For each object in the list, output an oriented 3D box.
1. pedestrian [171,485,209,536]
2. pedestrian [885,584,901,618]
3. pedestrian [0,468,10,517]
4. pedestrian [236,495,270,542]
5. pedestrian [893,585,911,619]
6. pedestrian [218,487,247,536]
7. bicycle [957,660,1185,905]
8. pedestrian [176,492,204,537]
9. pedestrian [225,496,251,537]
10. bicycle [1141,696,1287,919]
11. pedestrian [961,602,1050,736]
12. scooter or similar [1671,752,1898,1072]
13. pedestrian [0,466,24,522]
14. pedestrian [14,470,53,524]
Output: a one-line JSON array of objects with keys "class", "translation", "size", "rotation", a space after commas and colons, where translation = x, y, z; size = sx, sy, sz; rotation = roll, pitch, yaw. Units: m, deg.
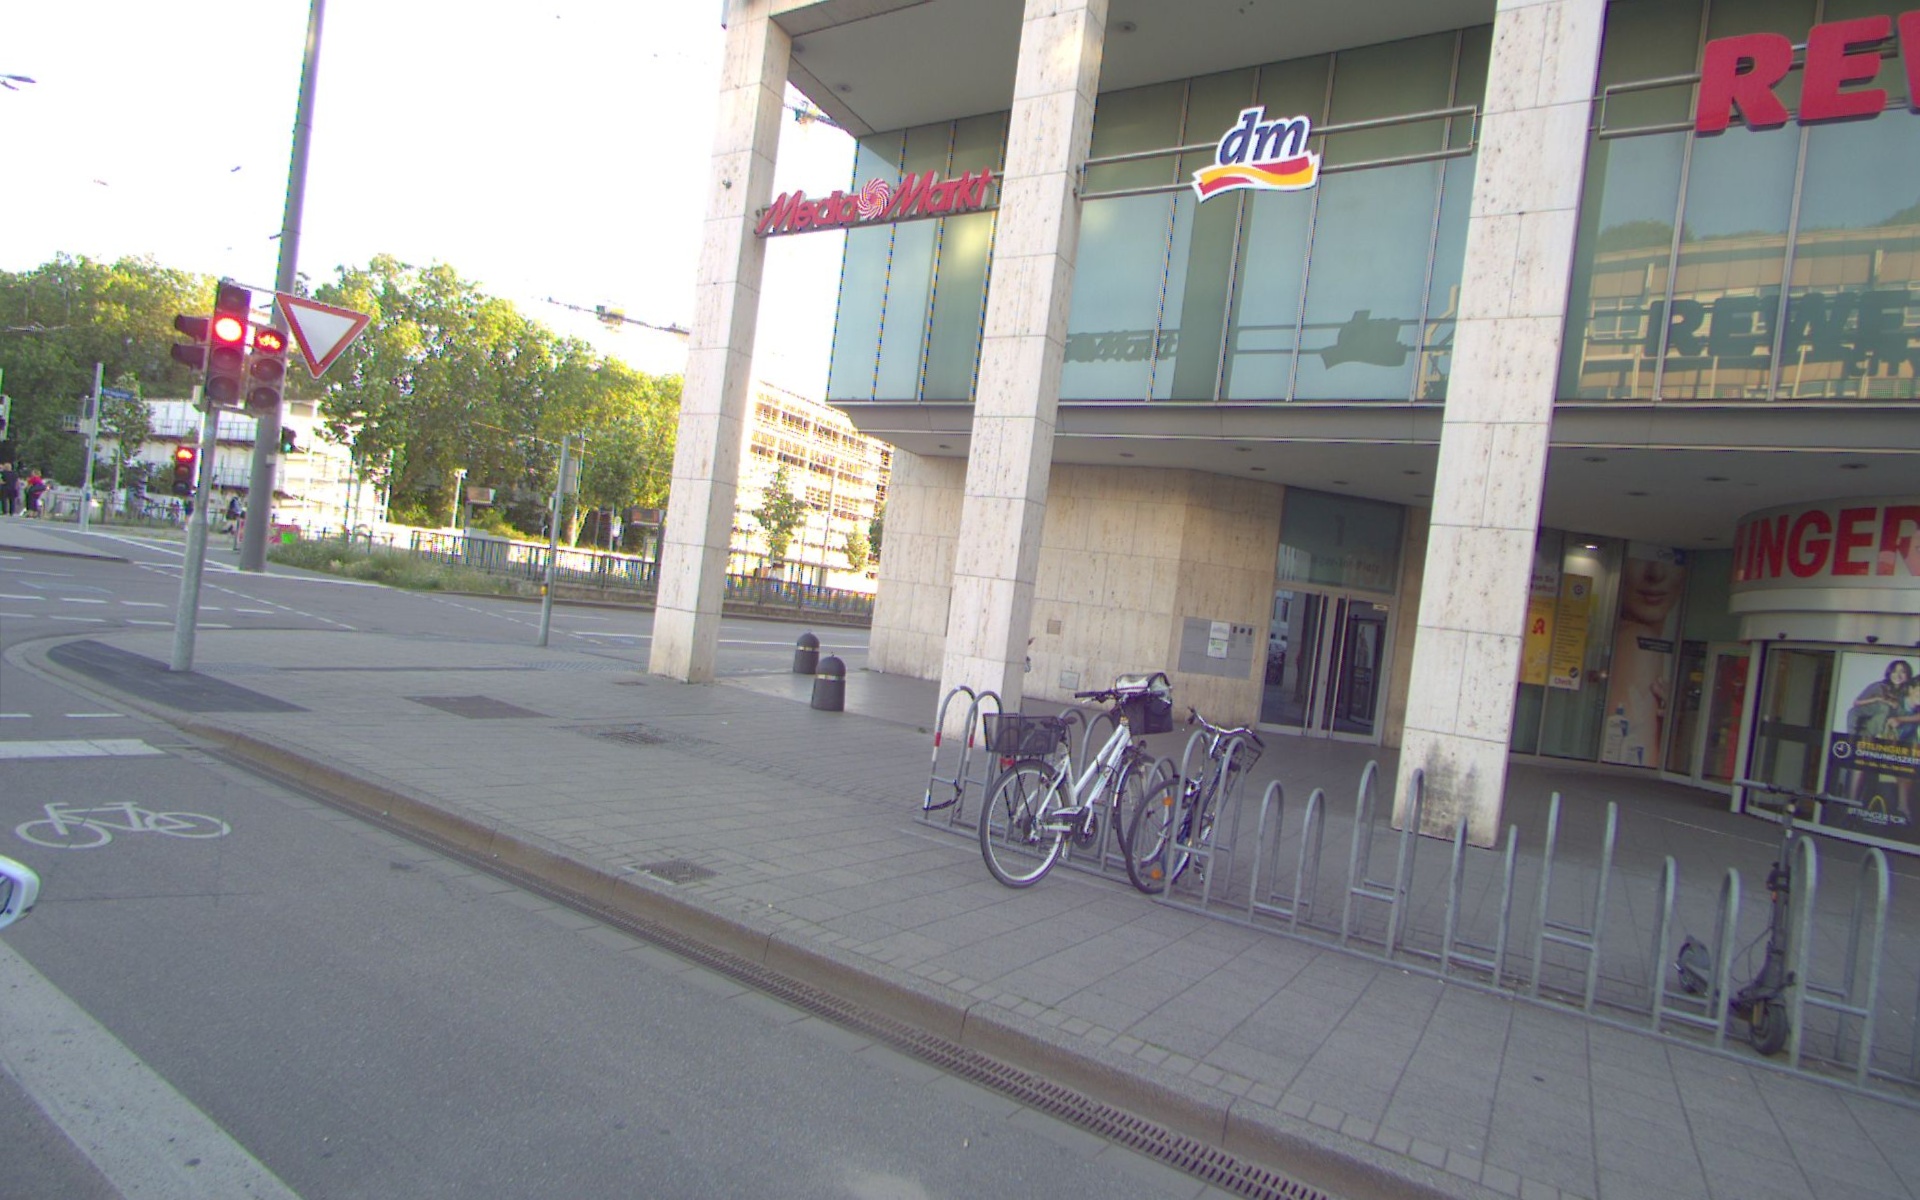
[{"class": "pedestrian", "translation": [-28.427, -3.292, 37.164], "size": [0.700, 1.746, 0.668], "rotation": [7, 1, 1]}, {"class": "pedestrian", "translation": [-4.231, 0.072, 63.816], "size": [0.559, 2.039, 0.575], "rotation": [8, 1, 29]}, {"class": "pedestrian", "translation": [-33.978, -3.814, 35.461], "size": [0.570, 1.699, 0.631], "rotation": [7, 1, -44]}, {"class": "pedestrian", "translation": [-28.369, -3.272, 40.353], "size": [0.700, 1.746, 0.668], "rotation": [7, 1, -1]}, {"class": "pedestrian", "translation": [-3.650, 0.123, 63.519], "size": [0.631, 2.039, 0.626], "rotation": [8, 1, 28]}, {"class": "pedestrian", "translation": [-27.828, -3.372, 38.484], "size": [0.708, 1.746, 0.660], "rotation": [7, 1, -41]}, {"class": "bicycle", "translation": [0.702, 1.006, 5.927], "size": [0.540, 1.198, 1.479], "rotation": [8, 1, 36]}, {"class": "pedestrian", "translation": [-29.334, -3.251, 38.347], "size": [0.527, 1.612, 0.571], "rotation": [8, 1, 32]}, {"class": "pedestrian", "translation": [-28.127, -3.249, 39.194], "size": [0.672, 1.459, 0.707], "rotation": [6, 1, -36]}, {"class": "bicycle", "translation": [1.659, 1.217, 6.382], "size": [0.474, 1.092, 1.773], "rotation": [8, 0, 24]}, {"class": "pedestrian", "translation": [0.609, 0.911, 13.369], "size": [0.696, 1.659, 0.792], "rotation": [8, 1, 31]}, {"class": "scooter or similar", "translation": [3.989, 1.437, 4.957], "size": [0.484, 1.214, 1.196], "rotation": [8, 1, 27]}, {"class": "pedestrian", "translation": [-32.847, -3.657, 34.590], "size": [0.803, 1.814, 0.790], "rotation": [7, 1, -44]}, {"class": "pedestrian", "translation": [-32.680, -3.629, 35.494], "size": [0.696, 1.756, 0.843], "rotation": [8, 1, 44]}]
